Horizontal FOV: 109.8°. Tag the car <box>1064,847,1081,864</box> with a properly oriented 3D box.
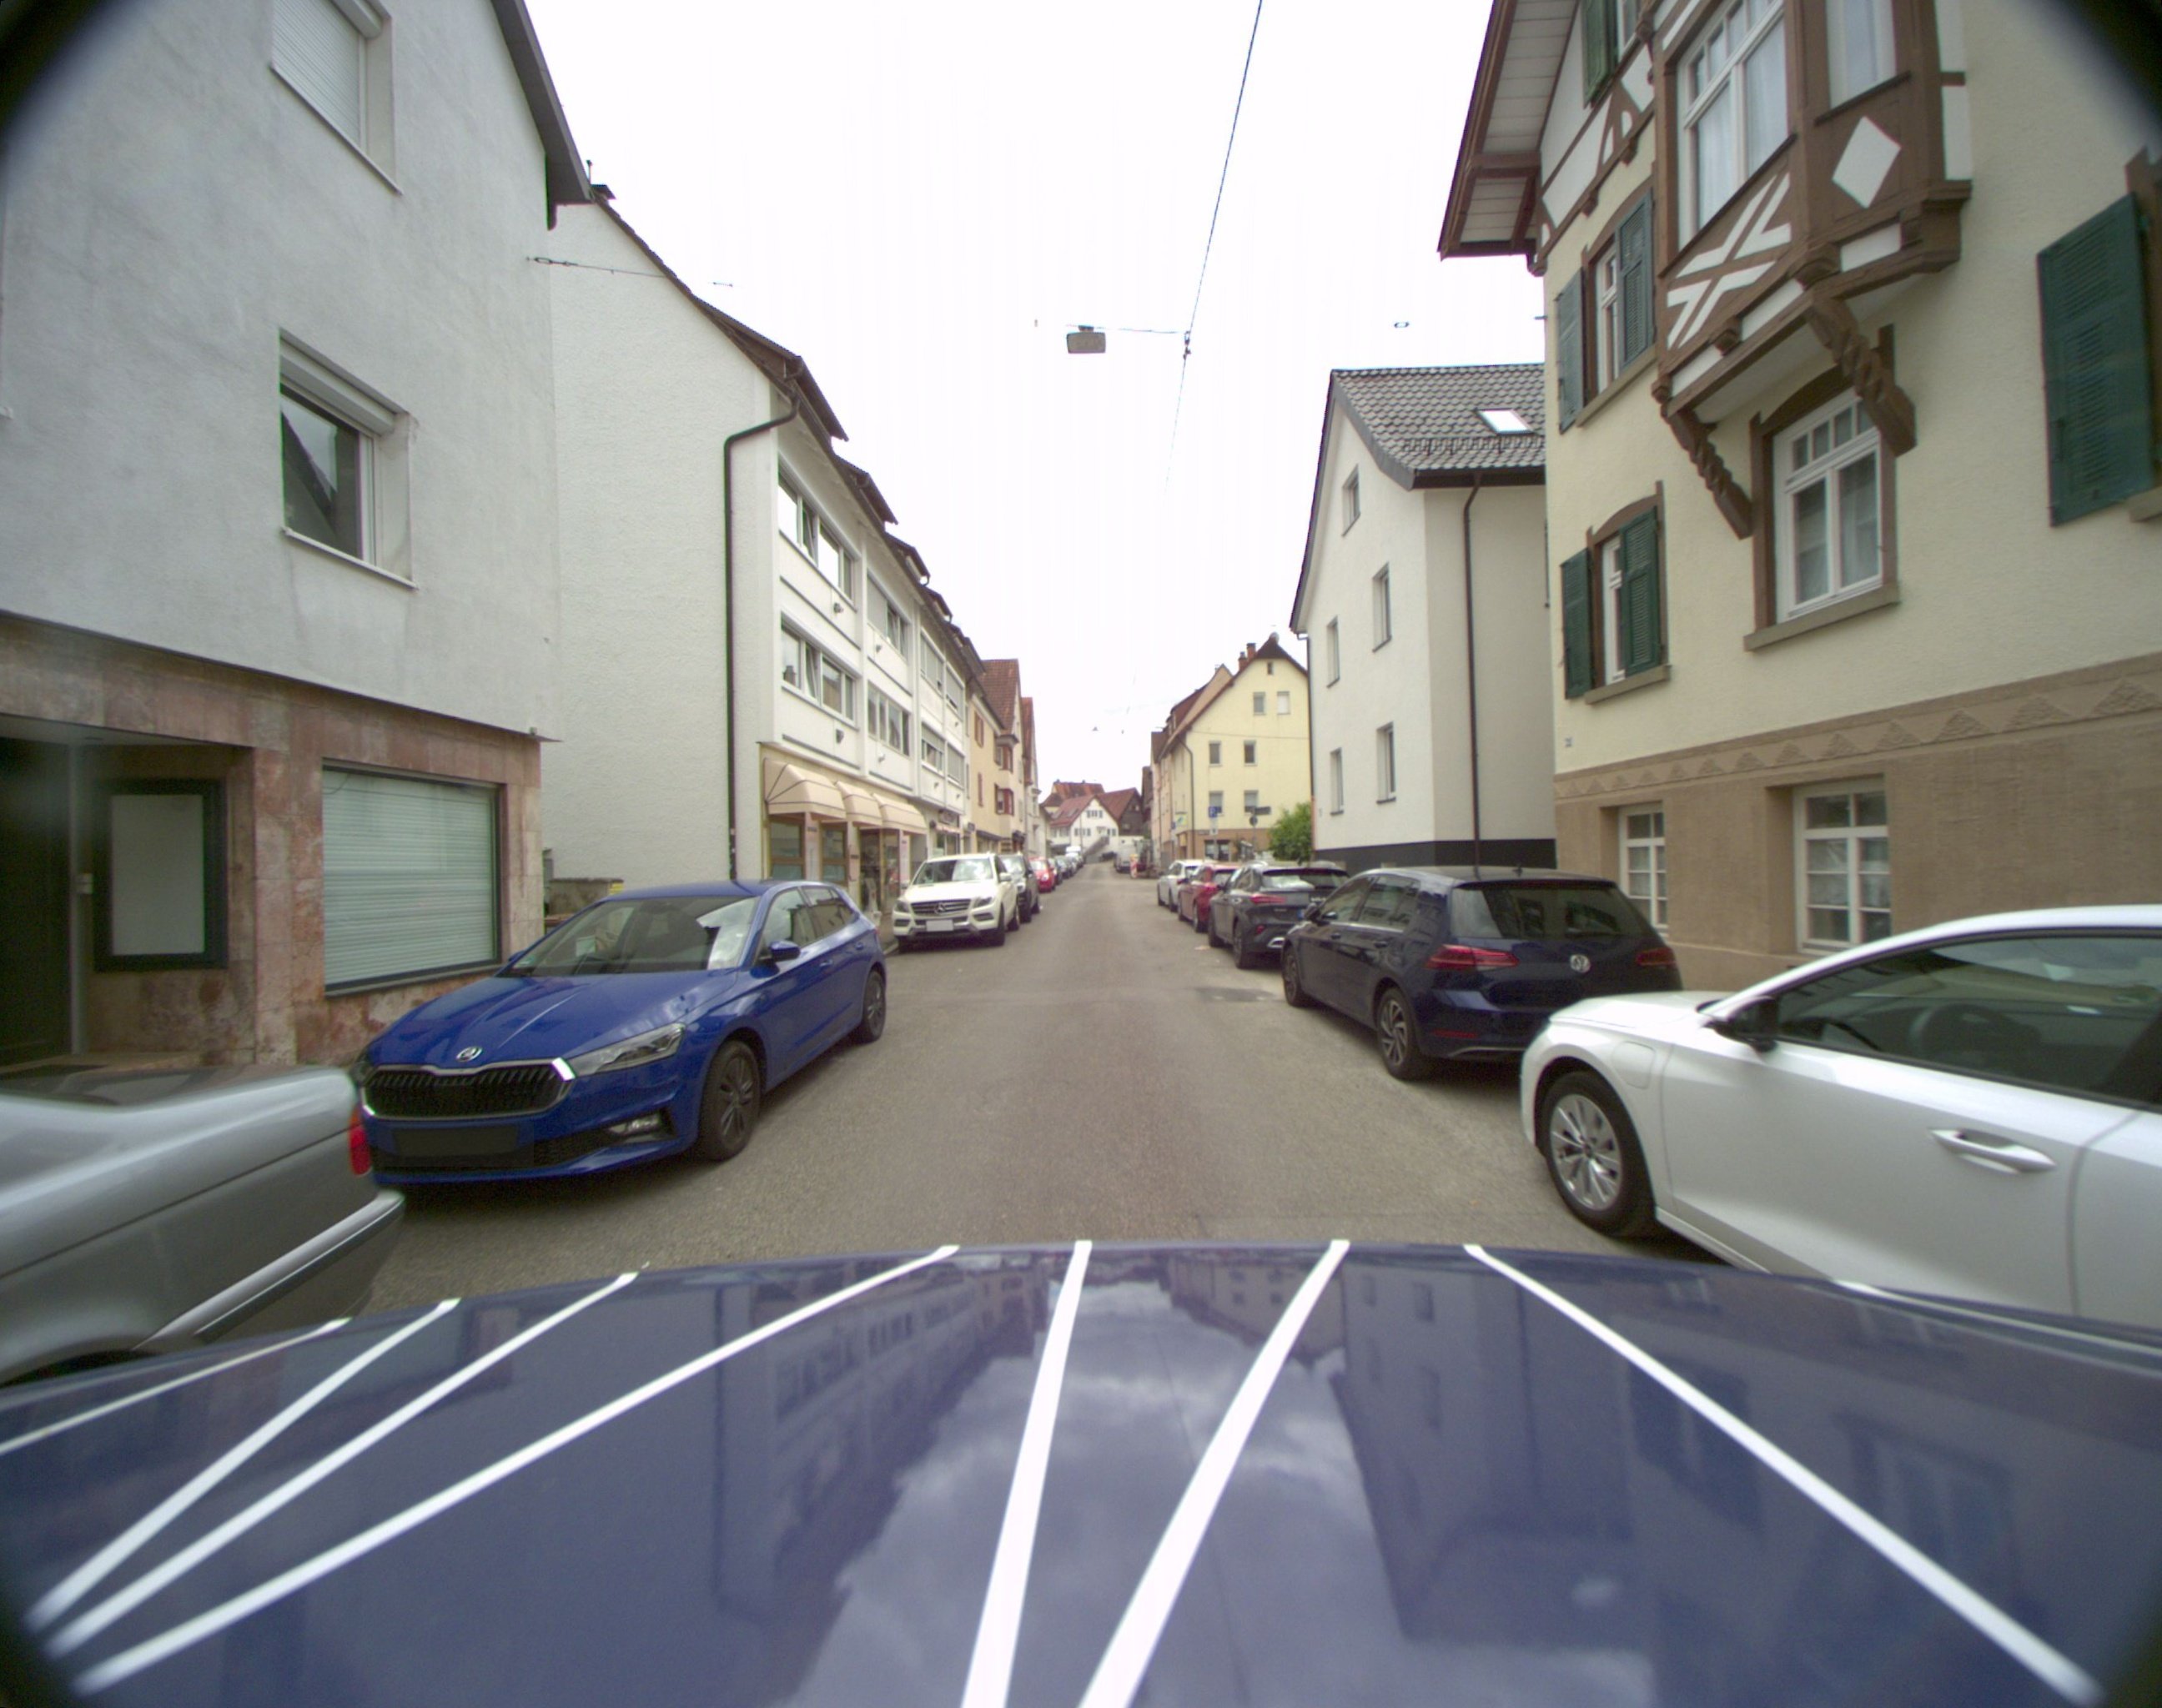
[{"bbox_3d":[-0.917,0.142,85.163,1.606,1.716,3.551,-4,1,1],"label":"car"}]

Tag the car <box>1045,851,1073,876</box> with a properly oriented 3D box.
[{"bbox_3d":[-1.428,0.594,51.401,1.606,1.464,3.988,-4,1,1],"label":"car"}]

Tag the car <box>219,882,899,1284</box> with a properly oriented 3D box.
[{"bbox_3d":[-2.659,1.042,5.148,1.756,1.424,3.928,-3,1,1],"label":"car"}]

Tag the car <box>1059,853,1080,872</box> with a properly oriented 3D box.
[{"bbox_3d":[-0.948,0.748,66.577,1.606,1.464,3.551,-4,1,1],"label":"car"}]

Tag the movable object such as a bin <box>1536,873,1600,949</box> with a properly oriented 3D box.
[{"bbox_3d":[7.342,0.842,11.486,0.515,1.080,0.668,-2,0,1],"label":"movable object such as a bin"}]

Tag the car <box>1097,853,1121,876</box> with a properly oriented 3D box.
[{"bbox_3d":[2.067,0.761,57.106,1.606,1.464,3.551,-4,1,1],"label":"car"}]

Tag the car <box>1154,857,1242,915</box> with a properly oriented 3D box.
[{"bbox_3d":[3.304,0.863,22.245,1.756,1.423,4.348,1,1,-2],"label":"car"}]

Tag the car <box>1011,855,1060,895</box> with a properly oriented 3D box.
[{"bbox_3d":[-1.981,0.907,34.215,1.673,1.519,3.988,-4,1,2],"label":"car"}]

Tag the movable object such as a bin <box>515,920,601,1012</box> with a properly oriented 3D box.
[{"bbox_3d":[-5.731,1.219,8.347,0.570,0.924,0.521,1,0,2],"label":"movable object such as a bin"}]

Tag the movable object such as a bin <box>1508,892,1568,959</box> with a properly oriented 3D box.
[{"bbox_3d":[6.790,1.049,11.303,0.515,0.926,0.604,-2,0,1],"label":"movable object such as a bin"}]

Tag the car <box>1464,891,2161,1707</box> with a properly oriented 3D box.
[{"bbox_3d":[2.789,0.943,1.638,1.756,1.424,4.369,1,1,1],"label":"car"}]

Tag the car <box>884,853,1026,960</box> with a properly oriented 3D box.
[{"bbox_3d":[-2.287,0.881,15.051,1.900,1.695,4.494,-2,1,1],"label":"car"}]

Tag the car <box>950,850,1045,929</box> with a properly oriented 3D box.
[{"bbox_3d":[-2.075,0.836,20.192,1.900,1.779,4.344,-2,1,1],"label":"car"}]

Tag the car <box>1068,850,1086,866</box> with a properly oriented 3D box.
[{"bbox_3d":[-0.400,0.349,76.842,1.606,1.464,3.551,-4,1,1],"label":"car"}]

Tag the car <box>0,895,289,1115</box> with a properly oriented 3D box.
[{"bbox_3d":[-8.492,1.172,5.229,1.647,1.424,4.013,-3,1,4],"label":"car"}]

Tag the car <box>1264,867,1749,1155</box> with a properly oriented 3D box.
[{"bbox_3d":[2.898,0.914,6.444,1.755,1.447,4.370,1,1,2],"label":"car"}]

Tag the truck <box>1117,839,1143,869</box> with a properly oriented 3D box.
[{"bbox_3d":[4.009,-0.013,63.382,1.783,2.378,5.484,-2,1,0],"label":"truck"}]

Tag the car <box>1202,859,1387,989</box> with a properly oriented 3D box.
[{"bbox_3d":[2.987,0.888,11.534,1.755,1.501,4.084,1,1,2],"label":"car"}]

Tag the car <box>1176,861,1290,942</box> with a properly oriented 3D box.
[{"bbox_3d":[3.196,0.934,16.761,1.756,1.441,4.066,1,1,1],"label":"car"}]

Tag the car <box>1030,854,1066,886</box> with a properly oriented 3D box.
[{"bbox_3d":[-1.784,0.864,42.263,1.606,1.519,3.988,-4,1,1],"label":"car"}]
